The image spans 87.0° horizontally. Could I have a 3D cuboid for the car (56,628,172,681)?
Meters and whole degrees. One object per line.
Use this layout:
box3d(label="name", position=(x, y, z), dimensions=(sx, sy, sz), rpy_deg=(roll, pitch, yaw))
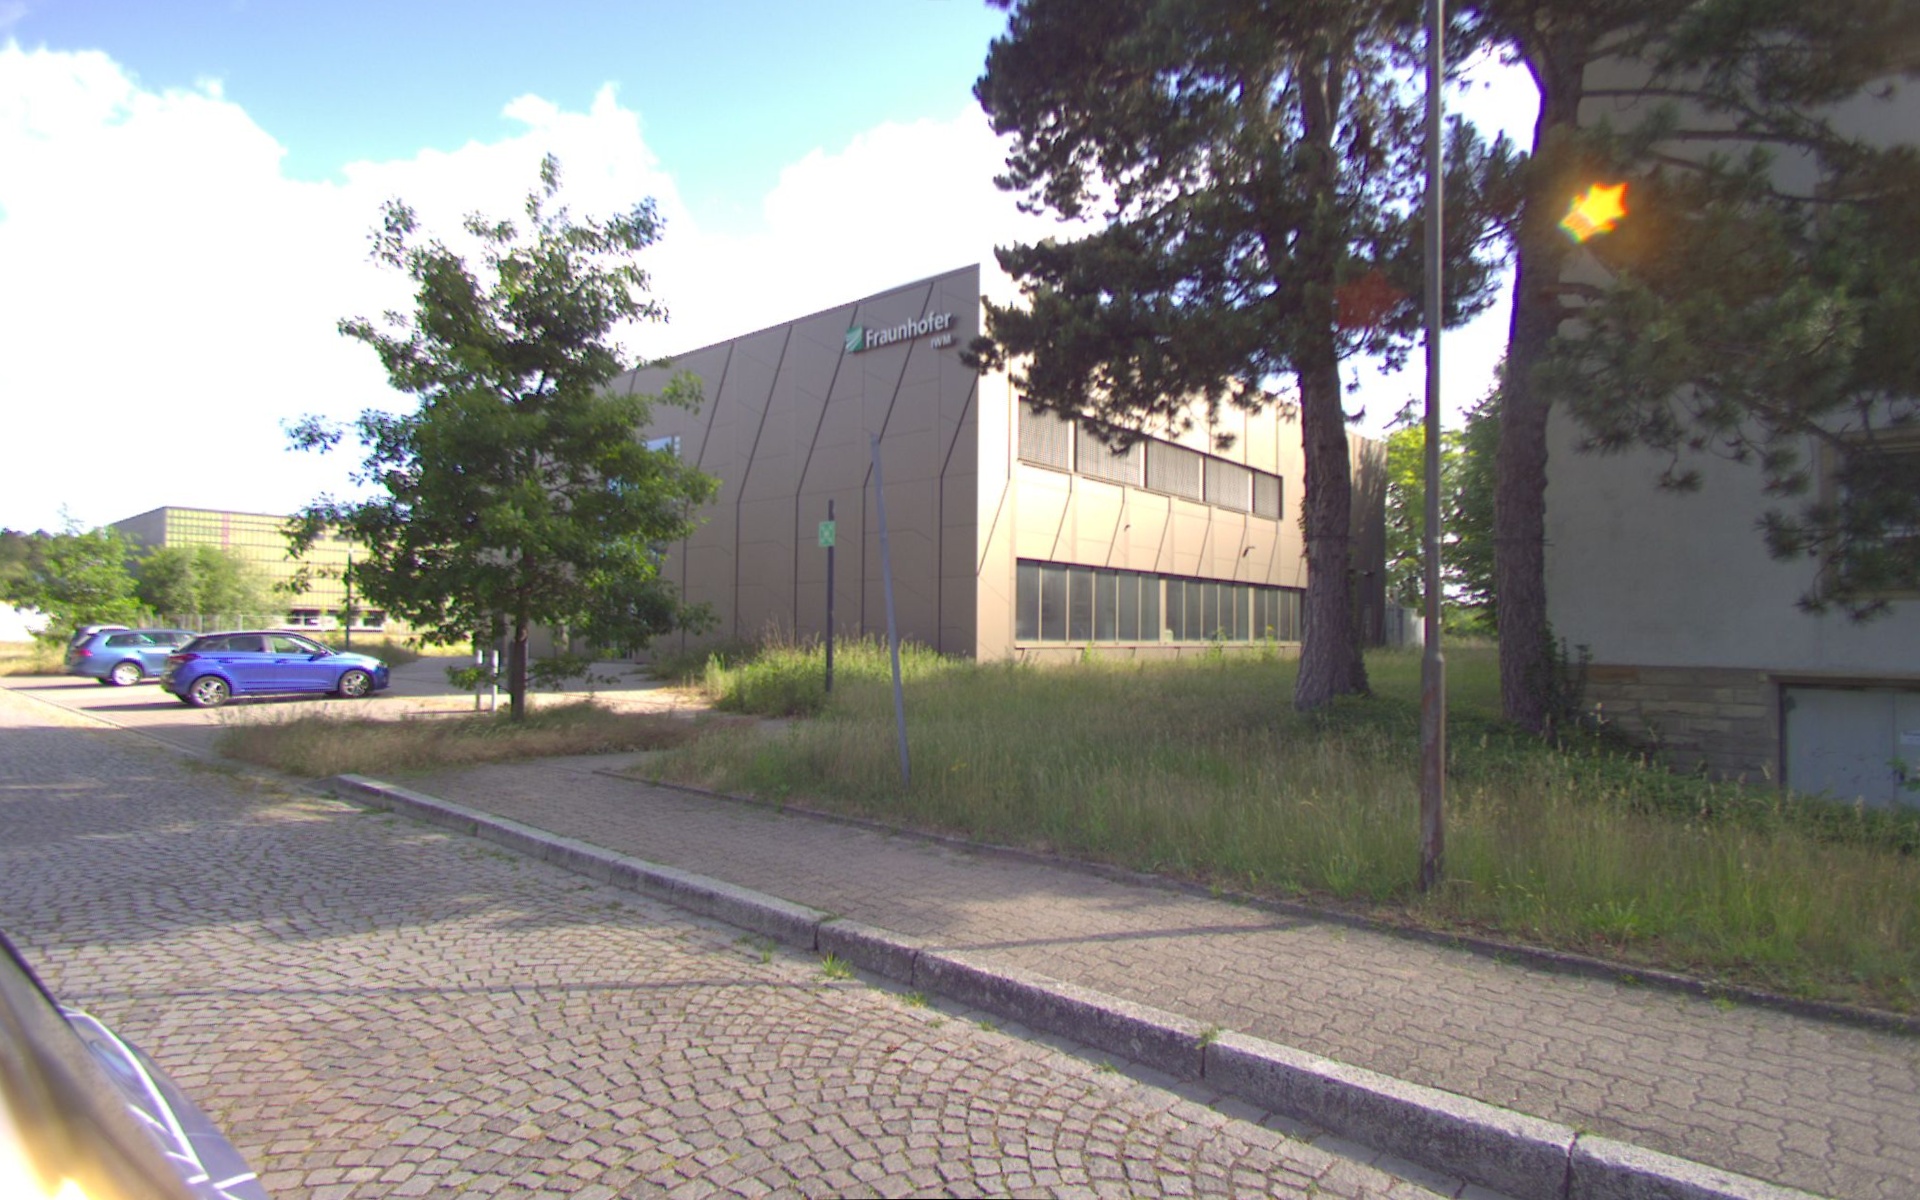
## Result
box3d(label="car", position=(-26.985, 1.699, 32.337), dimensions=(1.480, 1.580, 2.619), rpy_deg=(-1, -2, 39))

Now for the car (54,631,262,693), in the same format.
box3d(label="car", position=(-21.562, 1.599, 27.354), dimensions=(1.733, 1.485, 4.128), rpy_deg=(-1, -2, 38))

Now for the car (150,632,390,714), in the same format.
box3d(label="car", position=(-14.357, 1.447, 21.202), dimensions=(1.735, 1.479, 3.866), rpy_deg=(-2, -2, 43))
